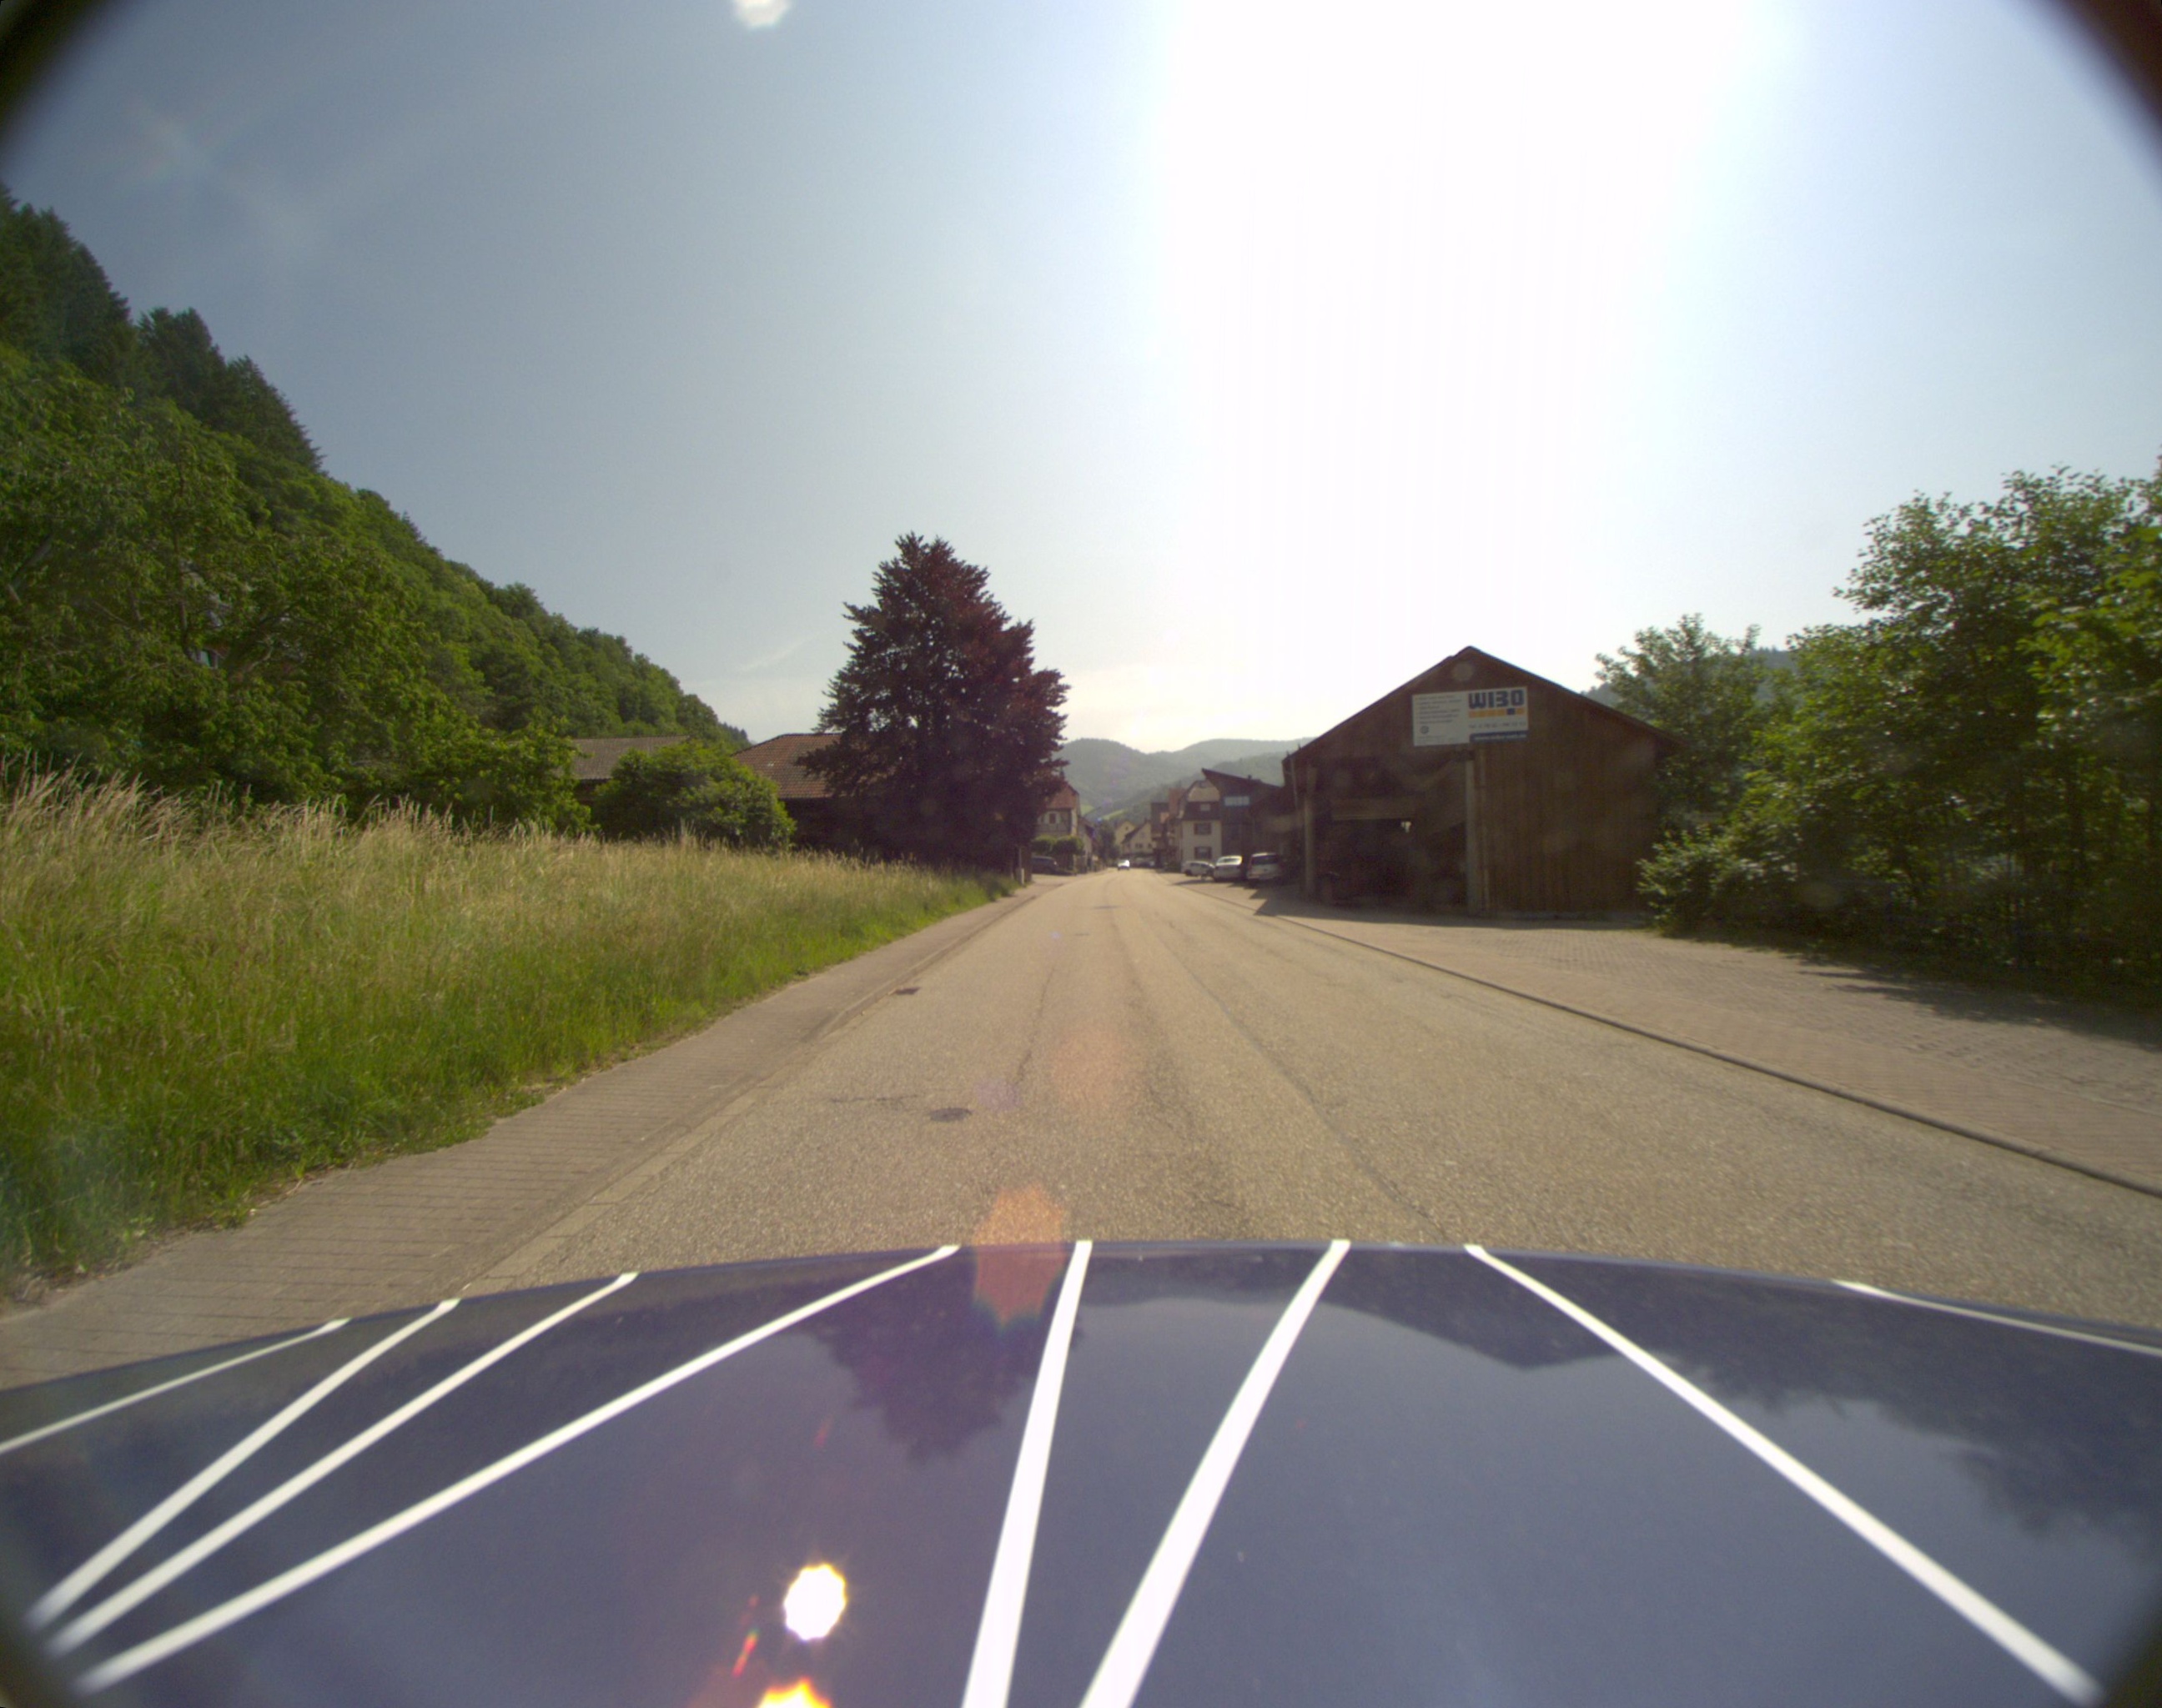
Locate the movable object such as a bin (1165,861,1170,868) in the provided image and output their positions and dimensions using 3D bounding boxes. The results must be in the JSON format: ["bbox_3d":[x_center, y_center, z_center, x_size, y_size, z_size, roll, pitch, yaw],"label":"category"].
[{"bbox_3d":[11.642,1.410,102.077,0.677,1.060,0.621,-1,0,3],"label":"movable object such as a bin"}]

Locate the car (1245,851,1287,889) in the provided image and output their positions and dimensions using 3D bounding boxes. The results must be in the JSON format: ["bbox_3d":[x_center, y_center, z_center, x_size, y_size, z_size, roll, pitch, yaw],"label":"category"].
[{"bbox_3d":[8.730,0.726,35.647,1.583,1.560,4.028,-4,-1,16],"label":"car"}]

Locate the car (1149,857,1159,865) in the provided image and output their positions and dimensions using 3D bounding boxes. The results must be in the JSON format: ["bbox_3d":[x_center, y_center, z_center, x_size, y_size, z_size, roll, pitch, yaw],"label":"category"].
[{"bbox_3d":[14.897,1.387,154.828,1.774,1.544,4.286,-2,0,2],"label":"car"}]

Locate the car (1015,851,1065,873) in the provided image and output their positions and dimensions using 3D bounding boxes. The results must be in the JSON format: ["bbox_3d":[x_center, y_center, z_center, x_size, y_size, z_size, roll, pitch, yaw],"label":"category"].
[{"bbox_3d":[-3.806,0.743,70.319,4.228,1.677,1.778,4,1,8],"label":"car"}]

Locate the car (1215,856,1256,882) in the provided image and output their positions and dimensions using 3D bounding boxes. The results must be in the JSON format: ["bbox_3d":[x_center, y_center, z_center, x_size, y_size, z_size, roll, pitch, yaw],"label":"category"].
[{"bbox_3d":[9.128,0.886,44.635,1.731,1.445,4.812,-1,-1,19],"label":"car"}]

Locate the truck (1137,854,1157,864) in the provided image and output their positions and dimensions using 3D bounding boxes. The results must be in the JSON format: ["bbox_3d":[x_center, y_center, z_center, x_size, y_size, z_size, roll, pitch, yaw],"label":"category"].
[{"bbox_3d":[14.584,1.108,167.371,4.176,2.253,2.000,-2,0,-1],"label":"truck"}]

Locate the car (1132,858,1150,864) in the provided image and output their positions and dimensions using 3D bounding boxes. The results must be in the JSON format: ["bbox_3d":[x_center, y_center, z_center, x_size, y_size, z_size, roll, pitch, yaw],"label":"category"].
[{"bbox_3d":[13.530,1.591,171.402,3.997,1.444,1.628,1,0,0],"label":"car"}]

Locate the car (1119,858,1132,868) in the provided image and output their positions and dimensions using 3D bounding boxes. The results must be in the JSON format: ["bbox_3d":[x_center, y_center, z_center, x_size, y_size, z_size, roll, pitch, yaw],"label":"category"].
[{"bbox_3d":[7.686,1.501,131.751,1.999,1.672,3.999,0,0,-1],"label":"car"}]

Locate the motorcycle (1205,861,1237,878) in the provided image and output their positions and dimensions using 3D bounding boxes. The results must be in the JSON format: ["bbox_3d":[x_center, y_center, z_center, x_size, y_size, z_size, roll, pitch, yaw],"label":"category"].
[{"bbox_3d":[10.894,1.197,59.129,2.412,1.257,0.744,0,0,15],"label":"motorcycle"}]

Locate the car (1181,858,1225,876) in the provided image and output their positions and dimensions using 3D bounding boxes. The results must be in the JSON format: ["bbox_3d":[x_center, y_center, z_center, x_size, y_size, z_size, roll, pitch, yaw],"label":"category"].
[{"bbox_3d":[11.170,1.165,69.609,3.662,1.377,1.713,3,1,20],"label":"car"}]
